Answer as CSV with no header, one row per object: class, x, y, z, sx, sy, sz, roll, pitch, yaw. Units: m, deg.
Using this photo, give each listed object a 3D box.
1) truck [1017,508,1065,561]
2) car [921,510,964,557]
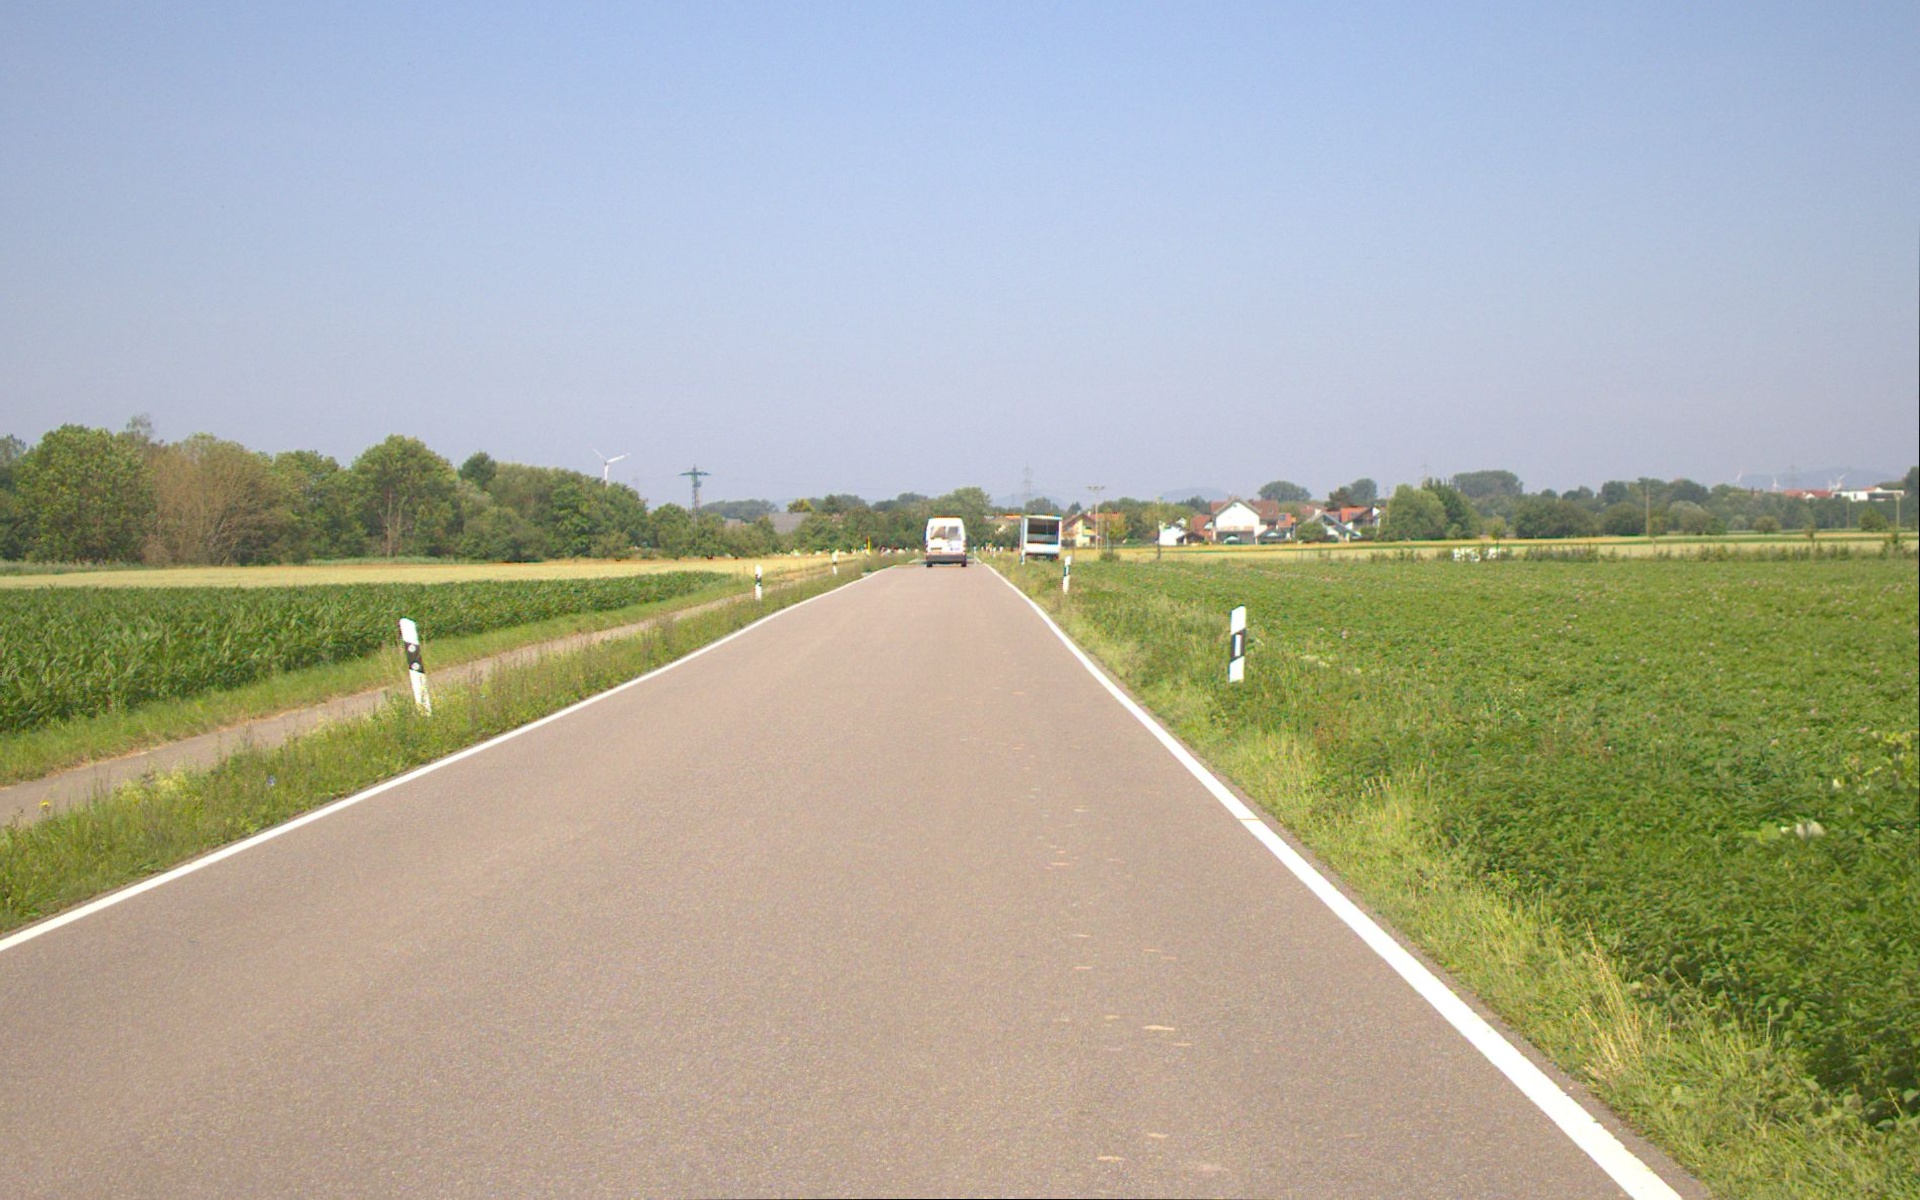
truck,4.702,-3.799,200.656,2.335,2.932,7.009,2,1,-2
car,-0.859,-3.337,173.979,2.107,2.296,5.496,1,1,0
